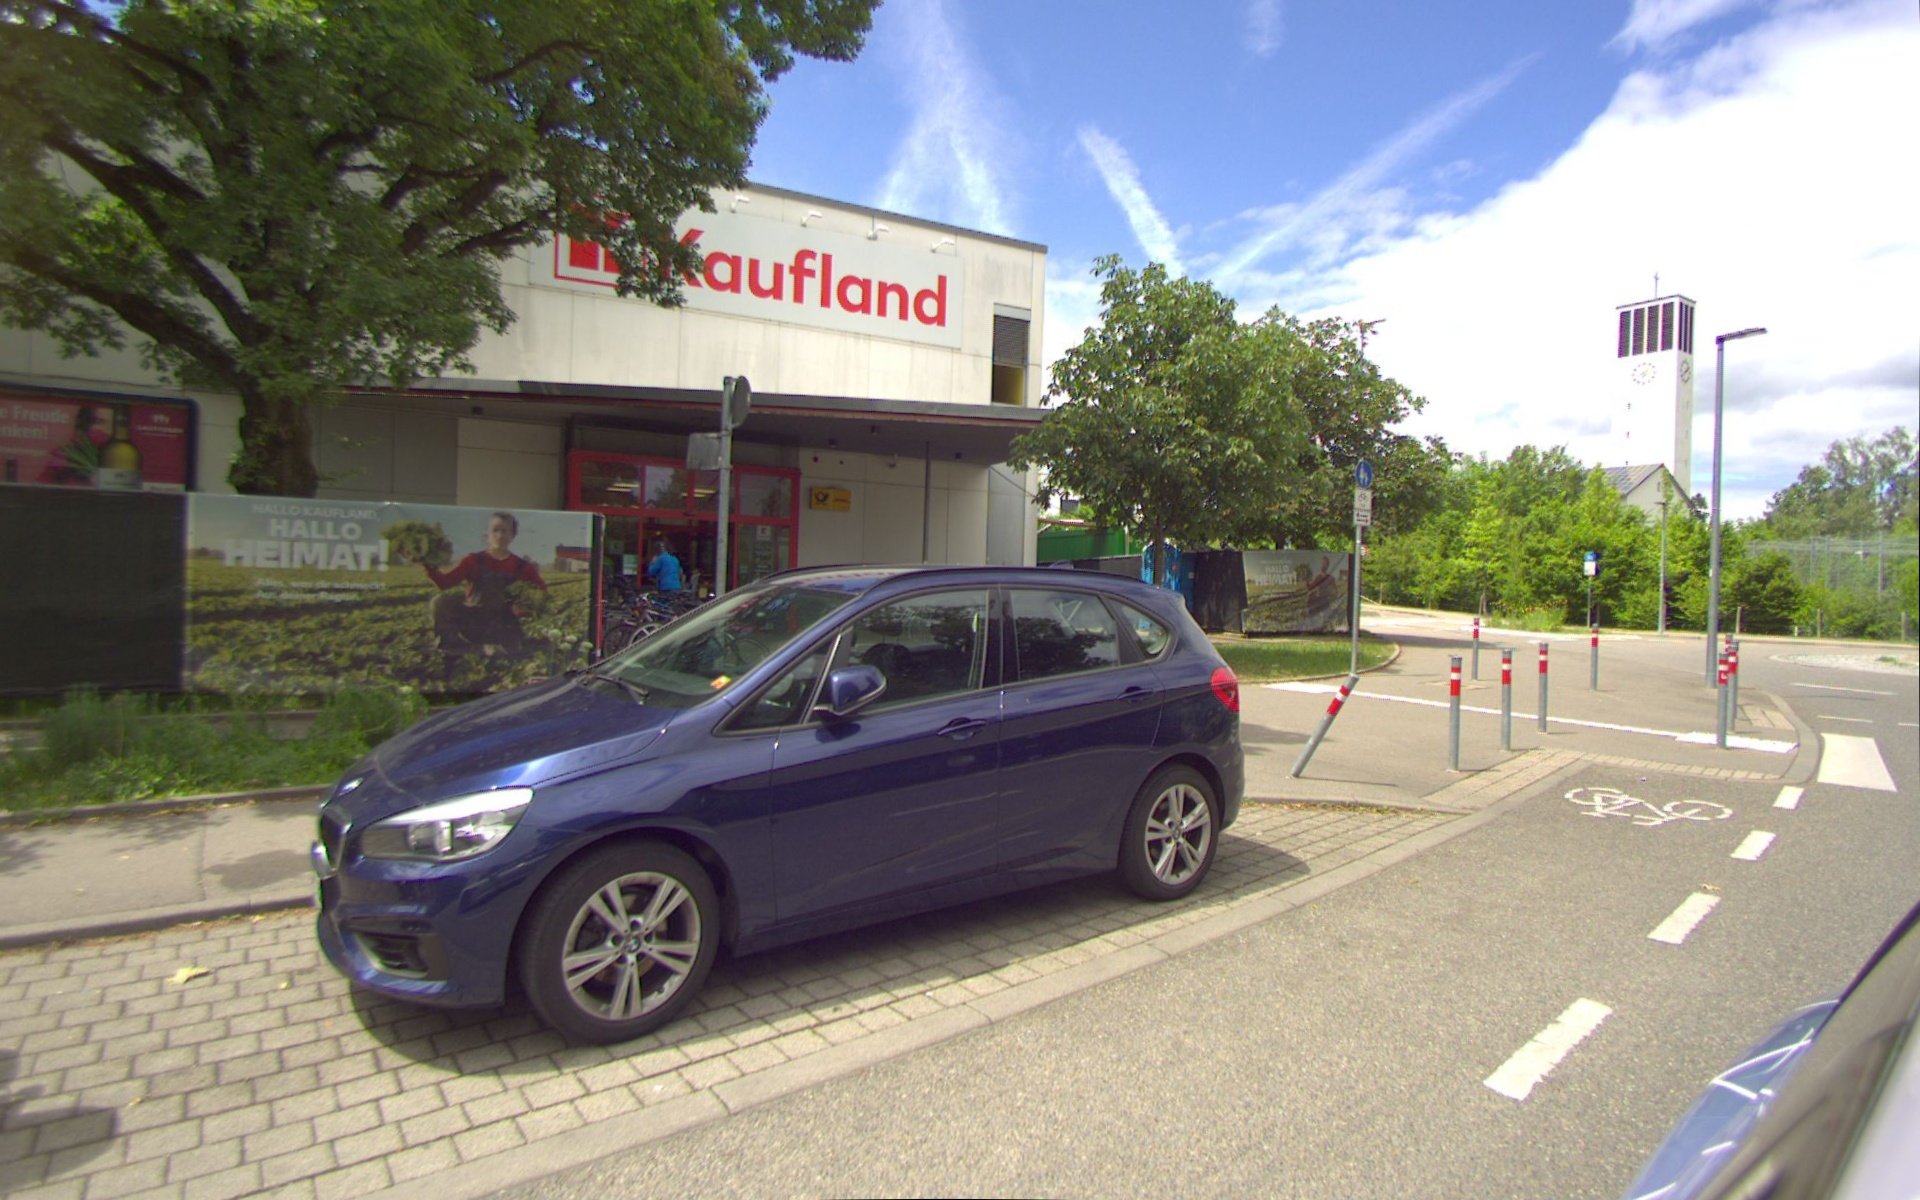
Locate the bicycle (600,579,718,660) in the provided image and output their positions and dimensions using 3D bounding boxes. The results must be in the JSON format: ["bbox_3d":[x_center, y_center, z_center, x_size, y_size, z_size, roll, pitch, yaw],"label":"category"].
[{"bbox_3d":[-4.479,0.277,15.086,1.627,1.170,0.427,0,0,-24],"label":"bicycle"}]

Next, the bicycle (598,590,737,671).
[{"bbox_3d":[-4.029,0.398,13.988,1.765,1.053,0.522,0,1,-31],"label":"bicycle"}]

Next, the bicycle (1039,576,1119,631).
[{"bbox_3d":[2.830,0.072,24.038,1.759,1.249,0.707,1,0,32],"label":"bicycle"}]

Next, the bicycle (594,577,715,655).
[{"bbox_3d":[-4.734,0.245,15.717,1.731,1.170,0.440,0,0,-26],"label":"bicycle"}]

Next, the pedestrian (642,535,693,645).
[{"bbox_3d":[-4.844,-0.181,16.765,0.732,1.778,0.626,1,3,-22],"label":"pedestrian"}]

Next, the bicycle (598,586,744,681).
[{"bbox_3d":[-3.663,0.418,12.914,1.736,1.170,0.502,1,0,-10],"label":"bicycle"}]

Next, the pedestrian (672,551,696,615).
[{"bbox_3d":[-6.918,-0.428,25.337,0.485,1.586,0.628,1,1,-23],"label":"pedestrian"}]

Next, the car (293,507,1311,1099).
[{"bbox_3d":[-0.501,0.500,4.784,4.347,1.597,1.923,0,3,-36],"label":"car"}]

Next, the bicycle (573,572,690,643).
[{"bbox_3d":[-5.639,0.128,17.394,1.873,1.170,0.531,0,0,-21],"label":"bicycle"}]

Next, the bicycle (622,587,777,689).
[{"bbox_3d":[-3.100,0.440,12.098,1.753,1.170,0.452,0,0,-14],"label":"bicycle"}]
